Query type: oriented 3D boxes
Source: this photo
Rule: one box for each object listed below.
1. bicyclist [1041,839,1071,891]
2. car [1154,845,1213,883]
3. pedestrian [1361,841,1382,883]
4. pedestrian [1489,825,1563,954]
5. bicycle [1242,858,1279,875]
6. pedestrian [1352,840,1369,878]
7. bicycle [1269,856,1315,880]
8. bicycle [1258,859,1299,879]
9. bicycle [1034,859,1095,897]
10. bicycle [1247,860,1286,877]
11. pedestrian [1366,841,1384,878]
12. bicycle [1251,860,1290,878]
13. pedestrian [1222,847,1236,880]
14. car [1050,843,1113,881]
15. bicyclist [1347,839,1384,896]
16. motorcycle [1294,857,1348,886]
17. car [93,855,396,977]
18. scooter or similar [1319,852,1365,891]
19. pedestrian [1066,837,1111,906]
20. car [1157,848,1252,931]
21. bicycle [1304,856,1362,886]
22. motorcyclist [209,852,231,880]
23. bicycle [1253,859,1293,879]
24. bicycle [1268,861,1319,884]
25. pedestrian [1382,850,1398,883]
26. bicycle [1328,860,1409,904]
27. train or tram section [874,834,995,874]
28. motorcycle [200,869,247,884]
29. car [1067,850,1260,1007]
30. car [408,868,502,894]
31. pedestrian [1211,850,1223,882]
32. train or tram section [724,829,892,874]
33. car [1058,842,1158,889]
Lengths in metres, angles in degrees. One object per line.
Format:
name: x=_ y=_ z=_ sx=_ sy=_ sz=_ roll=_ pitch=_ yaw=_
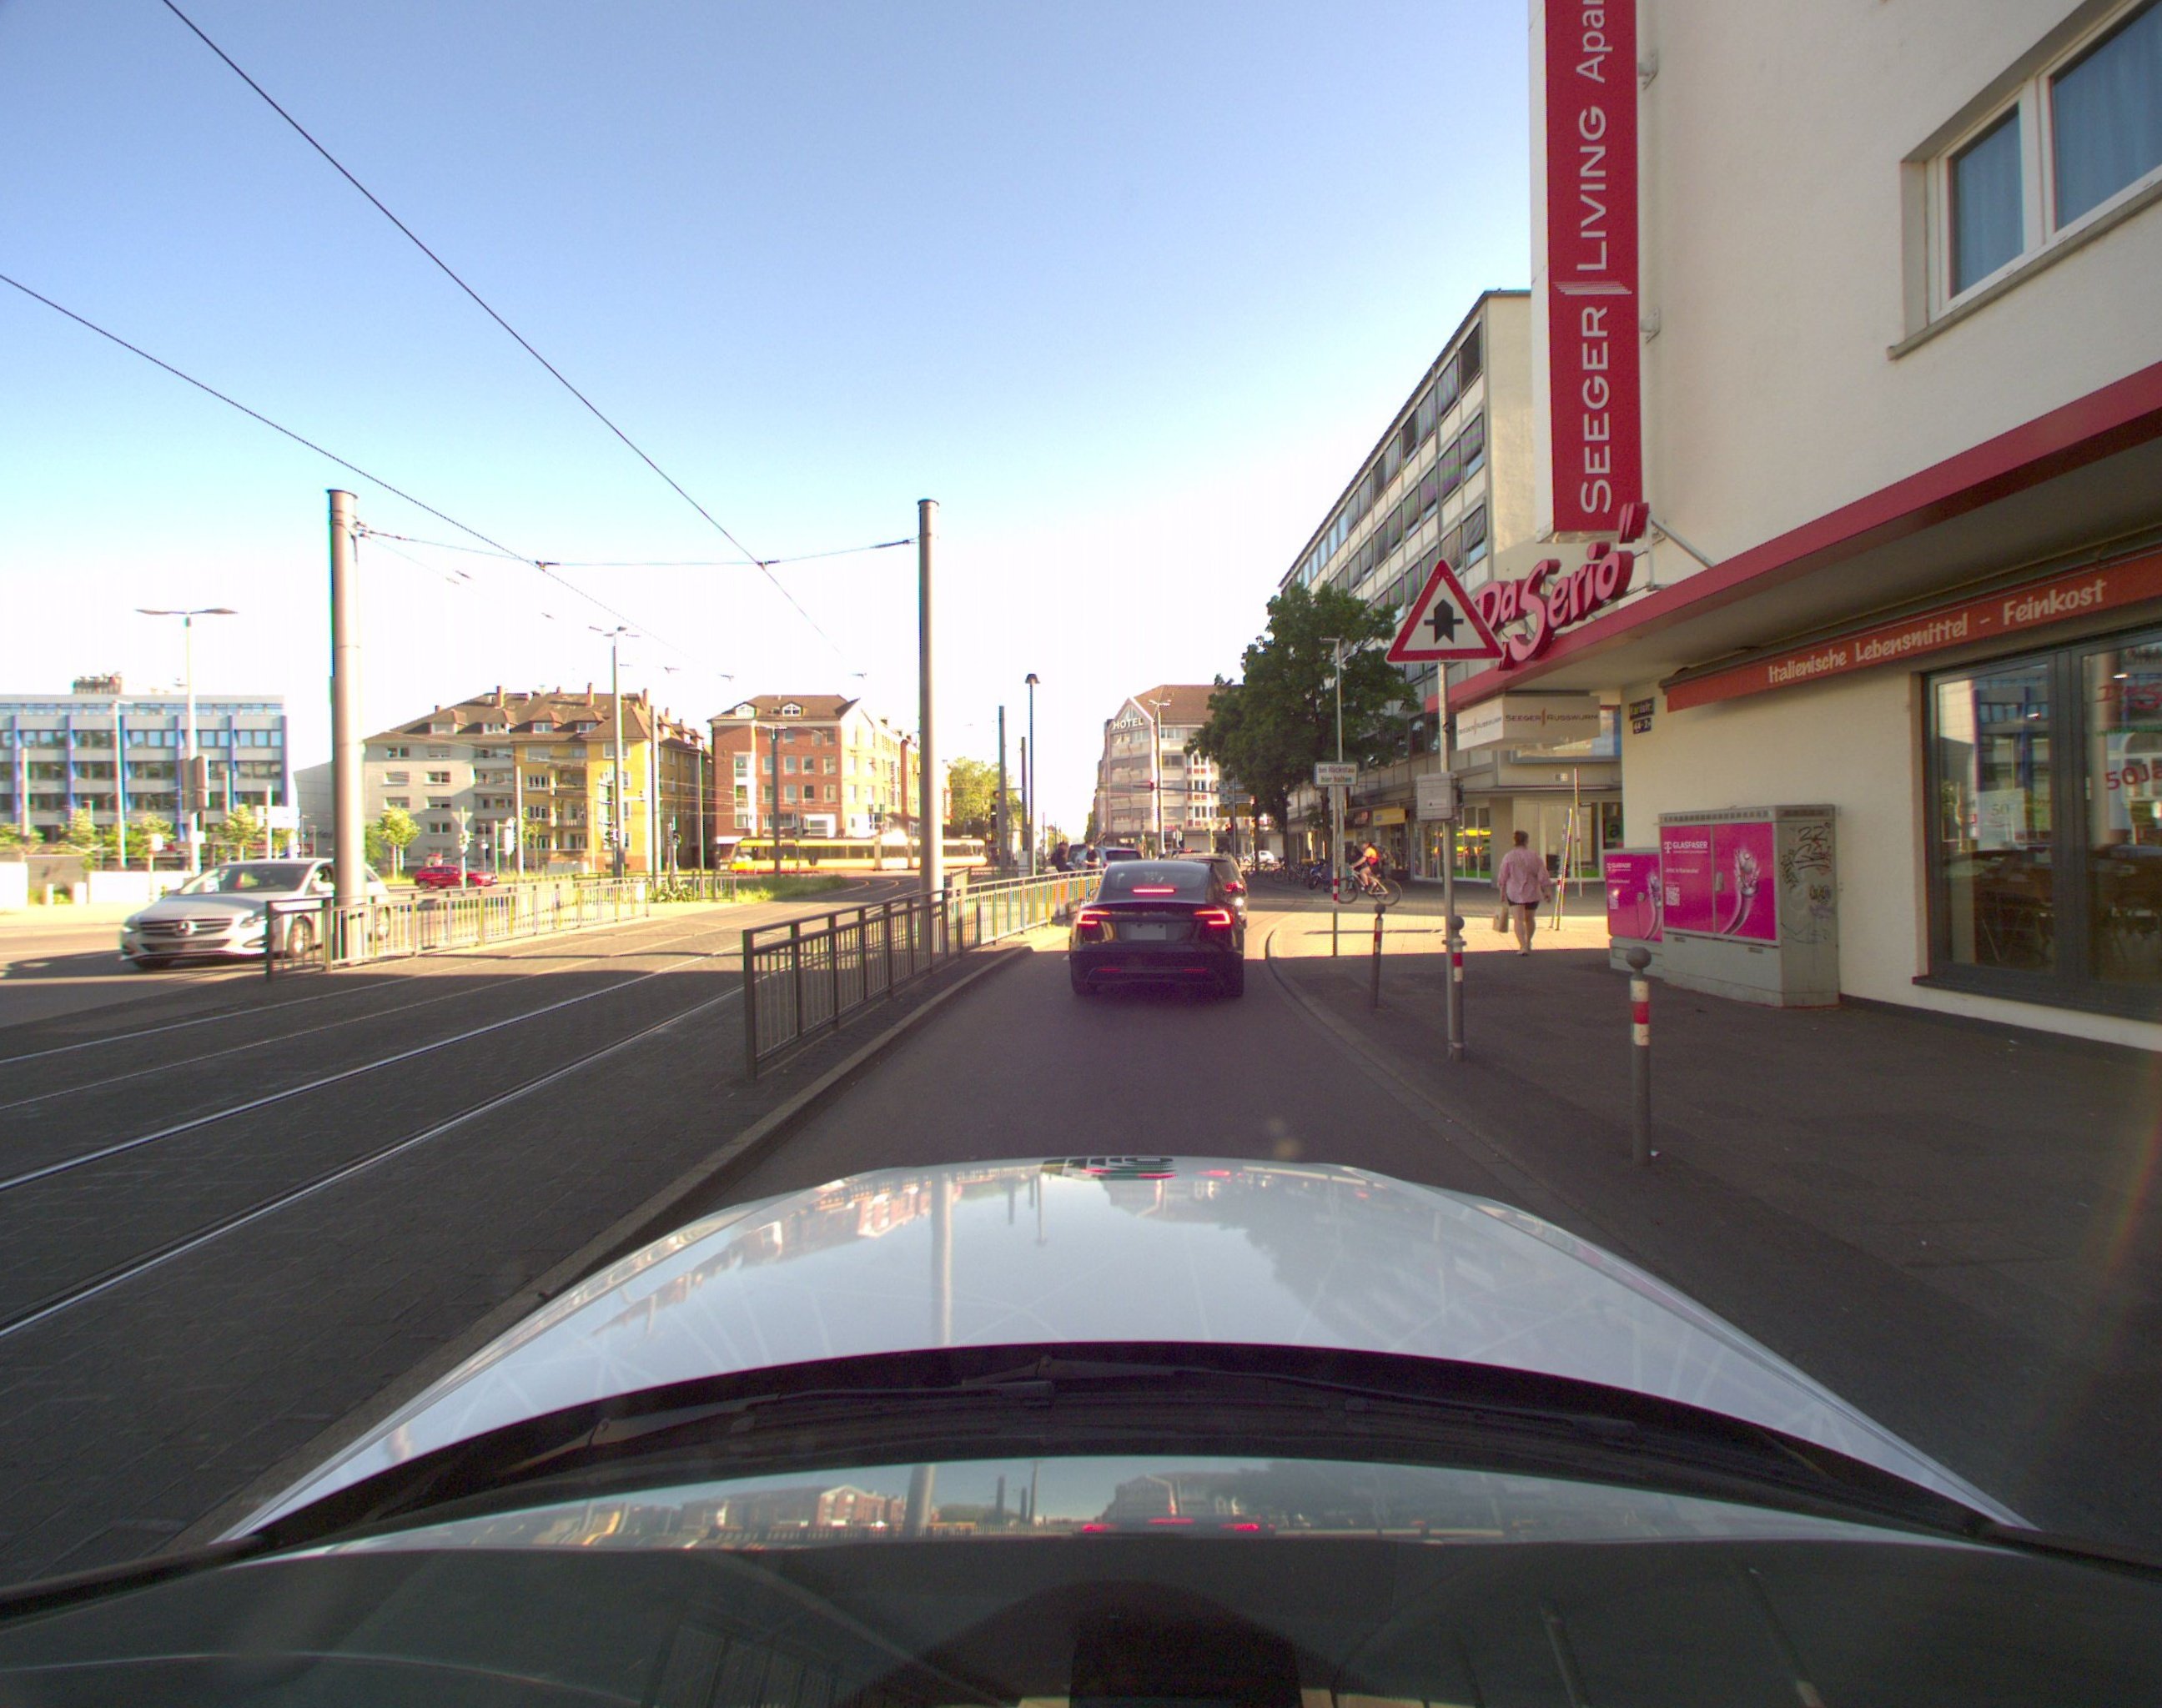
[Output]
bicyclist: x=-0.741 y=0.332 z=24.033 sx=0.835 sy=1.500 sz=0.558 roll=1 pitch=-1 yaw=-8
car: x=4.363 y=0.410 z=35.216 sx=1.821 sy=1.519 sz=3.643 roll=1 pitch=0 yaw=-5
pedestrian: x=11.546 y=0.324 z=32.367 sx=0.593 sy=1.641 sz=0.466 roll=-2 pitch=-1 yaw=2
pedestrian: x=6.062 y=0.463 z=11.144 sx=0.810 sy=1.683 sz=0.718 roll=1 pitch=-1 yaw=23
bicycle: x=9.693 y=0.693 z=44.044 sx=1.917 sy=0.890 sz=0.526 roll=0 pitch=-1 yaw=1
pedestrian: x=12.316 y=0.233 z=35.889 sx=0.529 sy=1.641 sz=0.607 roll=-2 pitch=-1 yaw=2
bicycle: x=9.555 y=0.636 z=36.889 sx=1.917 sy=1.097 sz=0.555 roll=0 pitch=-1 yaw=1
bicycle: x=9.662 y=0.746 z=39.879 sx=1.917 sy=0.950 sz=0.526 roll=0 pitch=-1 yaw=1
bicycle: x=-0.506 y=0.709 z=24.018 sx=1.727 sy=1.088 sz=0.676 roll=1 pitch=0 yaw=-8
bicycle: x=9.798 y=0.752 z=42.990 sx=1.917 sy=0.890 sz=0.526 roll=0 pitch=-1 yaw=1
pedestrian: x=13.025 y=0.241 z=36.068 sx=0.529 sy=1.641 sz=0.594 roll=-2 pitch=-1 yaw=2
bicycle: x=9.774 y=0.768 z=42.010 sx=1.917 sy=0.888 sz=0.526 roll=0 pitch=-1 yaw=1
pedestrian: x=7.417 y=0.474 z=40.732 sx=0.626 sy=1.613 sz=0.643 roll=0 pitch=0 yaw=4
car: x=-0.038 y=0.330 z=34.675 sx=1.826 sy=1.519 sz=4.200 roll=1 pitch=0 yaw=-12
bicyclist: x=7.457 y=0.348 z=21.367 sx=0.900 sy=1.438 sz=0.631 roll=1 pitch=-1 yaw=18
motorcycle: x=9.666 y=0.702 z=32.864 sx=1.984 sy=1.128 sz=0.596 roll=1 pitch=-1 yaw=0
car: x=-13.173 y=0.836 z=13.244 sx=1.789 sy=1.568 sz=4.261 roll=-2 pitch=1 yaw=-21
scooter or similar: x=9.098 y=0.619 z=28.384 sx=1.416 sy=1.317 sz=0.691 roll=0 pitch=-2 yaw=-25
pedestrian: x=0.194 y=0.458 z=21.040 sx=1.009 sy=1.742 sz=0.524 roll=1 pitch=-1 yaw=-25
car: x=2.548 y=0.611 z=16.319 sx=1.643 sy=1.418 sz=4.012 roll=1 pitch=1 yaw=11
bicycle: x=9.551 y=0.631 z=30.840 sx=2.044 sy=1.121 sz=0.483 roll=0 pitch=-1 yaw=1
motorcyclist: x=-51.698 y=0.715 z=48.906 sx=0.781 sy=1.708 sz=0.387 roll=1 pitch=-1 yaw=-8
bicycle: x=9.640 y=0.749 z=40.895 sx=1.917 sy=0.950 sz=0.526 roll=0 pitch=-1 yaw=1
bicycle: x=9.131 y=0.793 z=34.988 sx=2.044 sy=0.982 sz=0.483 roll=0 pitch=-1 yaw=1
pedestrian: x=12.227 y=0.509 z=32.215 sx=0.418 sy=1.280 sz=0.531 roll=-1 pitch=-1 yaw=2
bicycle: x=7.525 y=0.724 z=21.383 sx=1.957 sy=1.072 sz=0.778 roll=1 pitch=0 yaw=19
train or tram section: x=-14.707 y=0.062 z=84.255 sx=2.611 sy=3.718 sz=15.482 roll=1 pitch=0 yaw=31
motorcycle: x=-51.538 y=1.352 z=48.938 sx=1.997 sy=0.893 sz=0.559 roll=1 pitch=0 yaw=-8
car: x=0.767 y=0.724 z=9.664 sx=1.843 sy=1.484 sz=3.785 roll=0 pitch=0 yaw=-1
car: x=-38.763 y=1.657 z=50.507 sx=4.145 sy=1.490 sz=1.932 roll=0 pitch=0 yaw=-9
pedestrian: x=7.179 y=0.622 z=43.069 sx=0.559 sy=1.683 sz=0.751 roll=0 pitch=0 yaw=5
train or tram section: x=-24.403 y=-0.116 z=73.729 sx=14.251 sy=3.715 sz=2.654 roll=1 pitch=0 yaw=-35
car: x=0.847 y=0.384 z=28.357 sx=1.792 sy=1.519 sz=4.184 roll=1 pitch=0 yaw=-25
